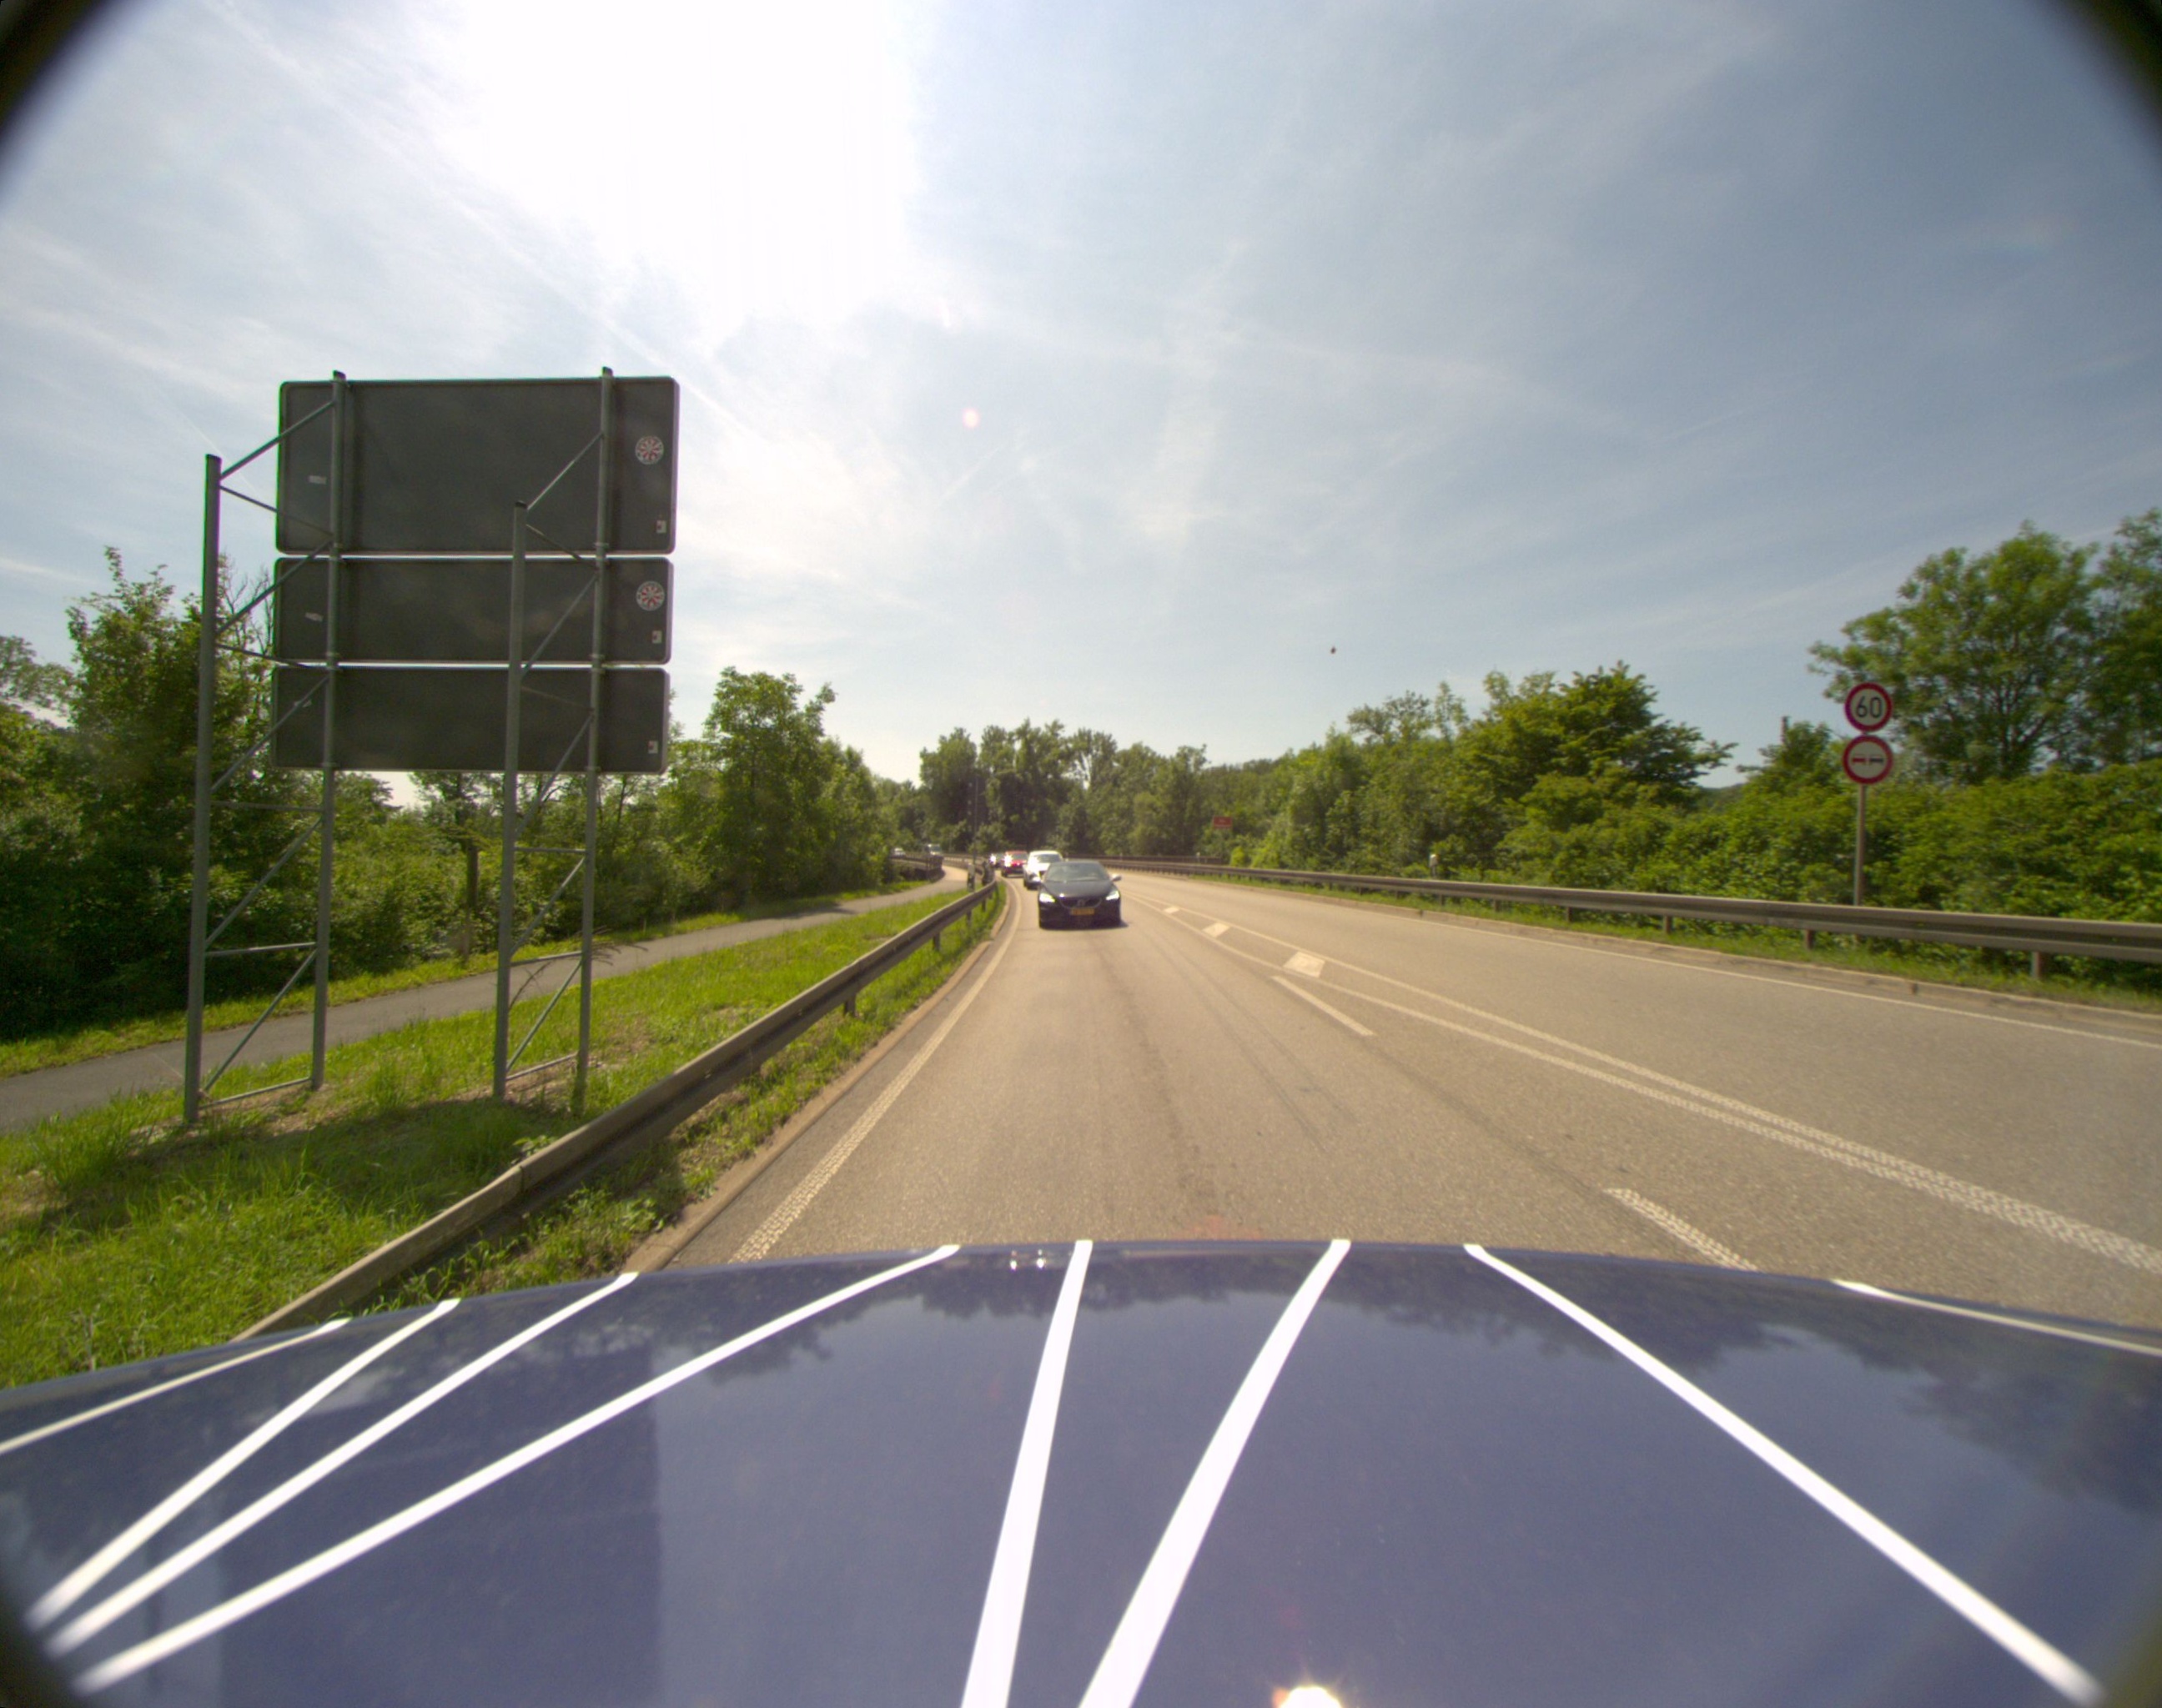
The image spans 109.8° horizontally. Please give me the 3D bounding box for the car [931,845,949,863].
[{"bbox_3d":[-20.941,0.019,112.810,2.001,2.471,4.851,-3,2,-16],"label":"car"}]

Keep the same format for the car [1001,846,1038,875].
[{"bbox_3d":[-3.984,0.428,48.922,2.000,1.765,3.996,-1,0,-10],"label":"car"}]

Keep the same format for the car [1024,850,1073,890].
[{"bbox_3d":[-1.521,0.677,34.096,1.910,1.638,3.948,-1,0,-6],"label":"car"}]

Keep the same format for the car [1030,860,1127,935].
[{"bbox_3d":[-0.181,0.897,17.508,1.910,1.413,3.948,-2,1,-4],"label":"car"}]

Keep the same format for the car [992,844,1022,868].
[{"bbox_3d":[-6.730,0.170,68.825,2.001,2.002,3.994,-3,2,-15],"label":"car"}]
